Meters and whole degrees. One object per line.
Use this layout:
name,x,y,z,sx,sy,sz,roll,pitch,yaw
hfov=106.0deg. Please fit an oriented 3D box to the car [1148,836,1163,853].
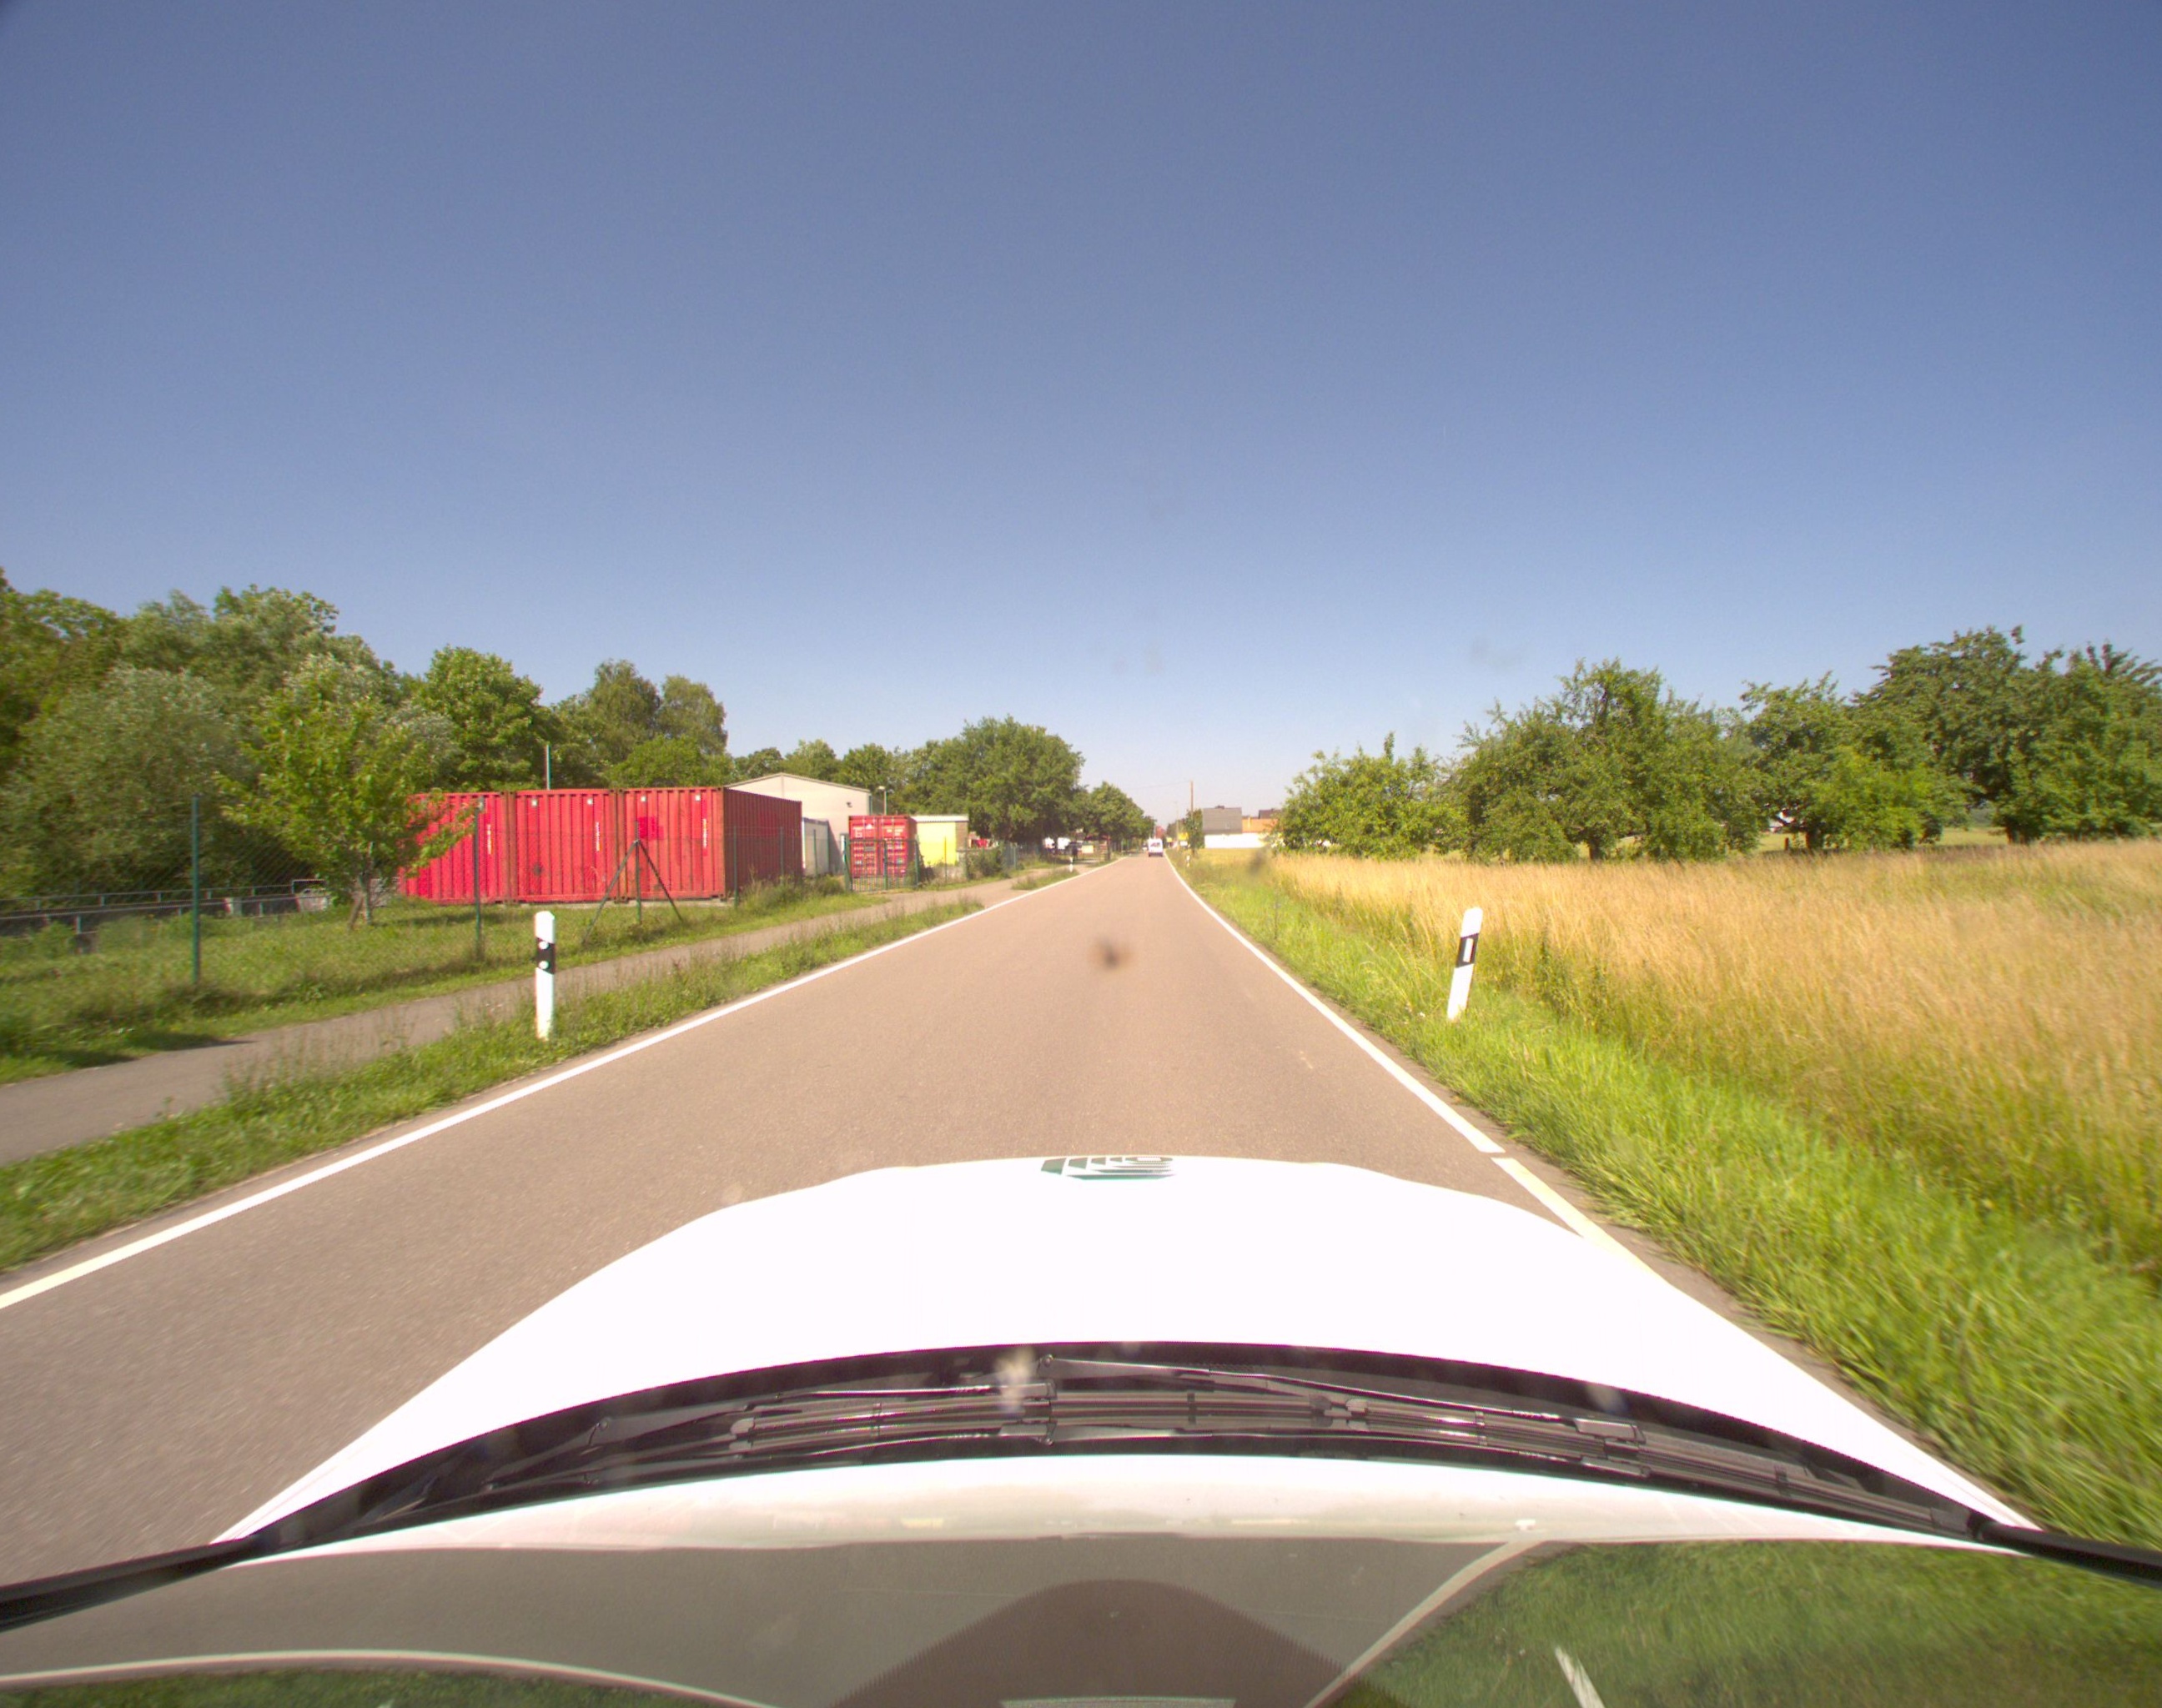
car,10.584,-1.383,115.772,1.984,2.266,4.733,-2,1,5

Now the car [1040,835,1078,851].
car,-3.354,-1.691,125.776,5.635,2.266,1.979,-2,1,-34

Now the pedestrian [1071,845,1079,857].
pedestrian,-0.801,-0.368,105.417,0.670,1.566,0.723,-1,0,29

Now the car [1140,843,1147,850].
car,16.182,-1.930,209.811,1.762,1.590,4.006,-2,1,5

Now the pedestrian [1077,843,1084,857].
pedestrian,-0.063,-0.508,105.955,0.713,1.803,0.715,-1,0,31
